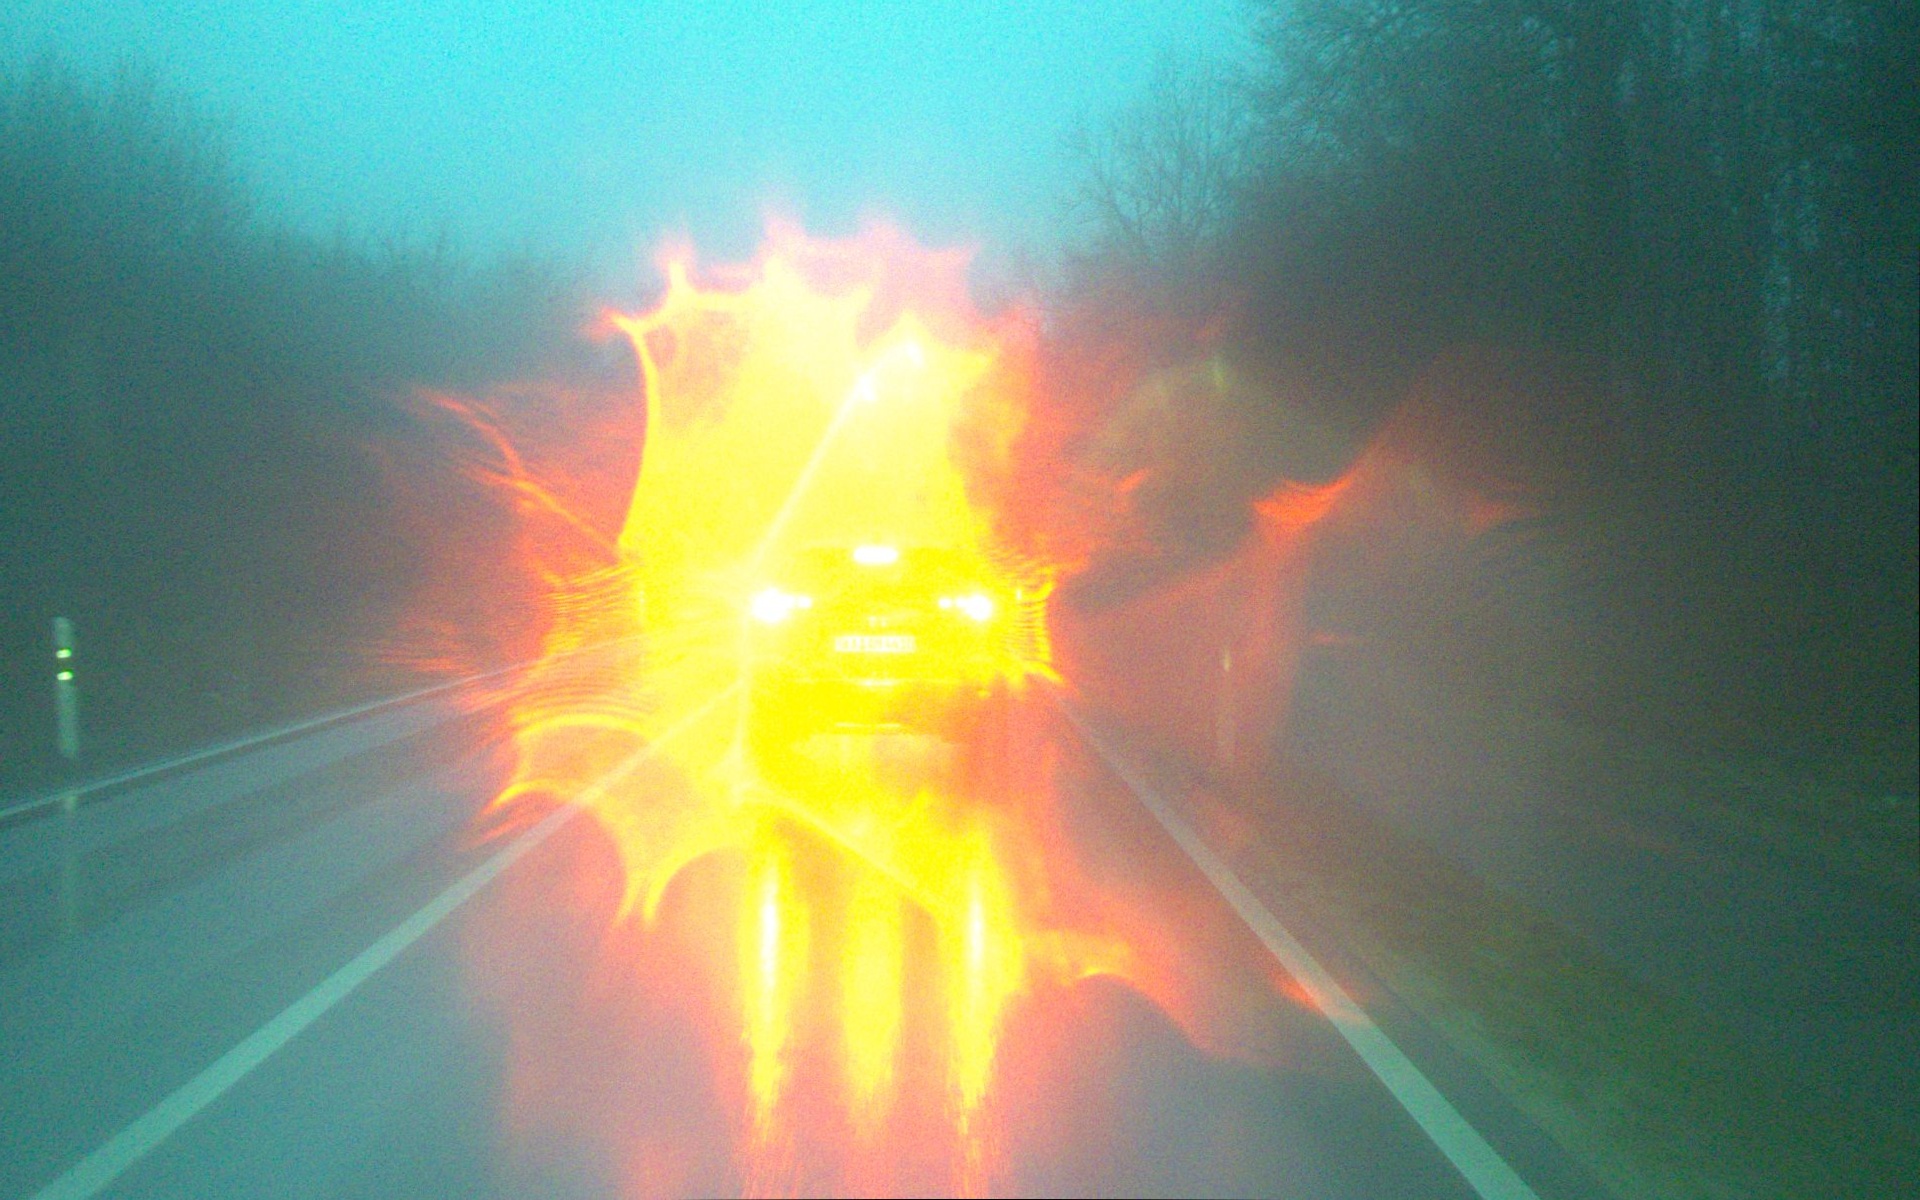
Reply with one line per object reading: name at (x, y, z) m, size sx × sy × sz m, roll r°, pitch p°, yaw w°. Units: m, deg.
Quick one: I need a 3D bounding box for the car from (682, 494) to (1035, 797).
car at (-0.689, 0.257, 24.161) m, size 2.198 × 1.871 × 4.827 m, roll 1°, pitch 1°, yaw -1°
